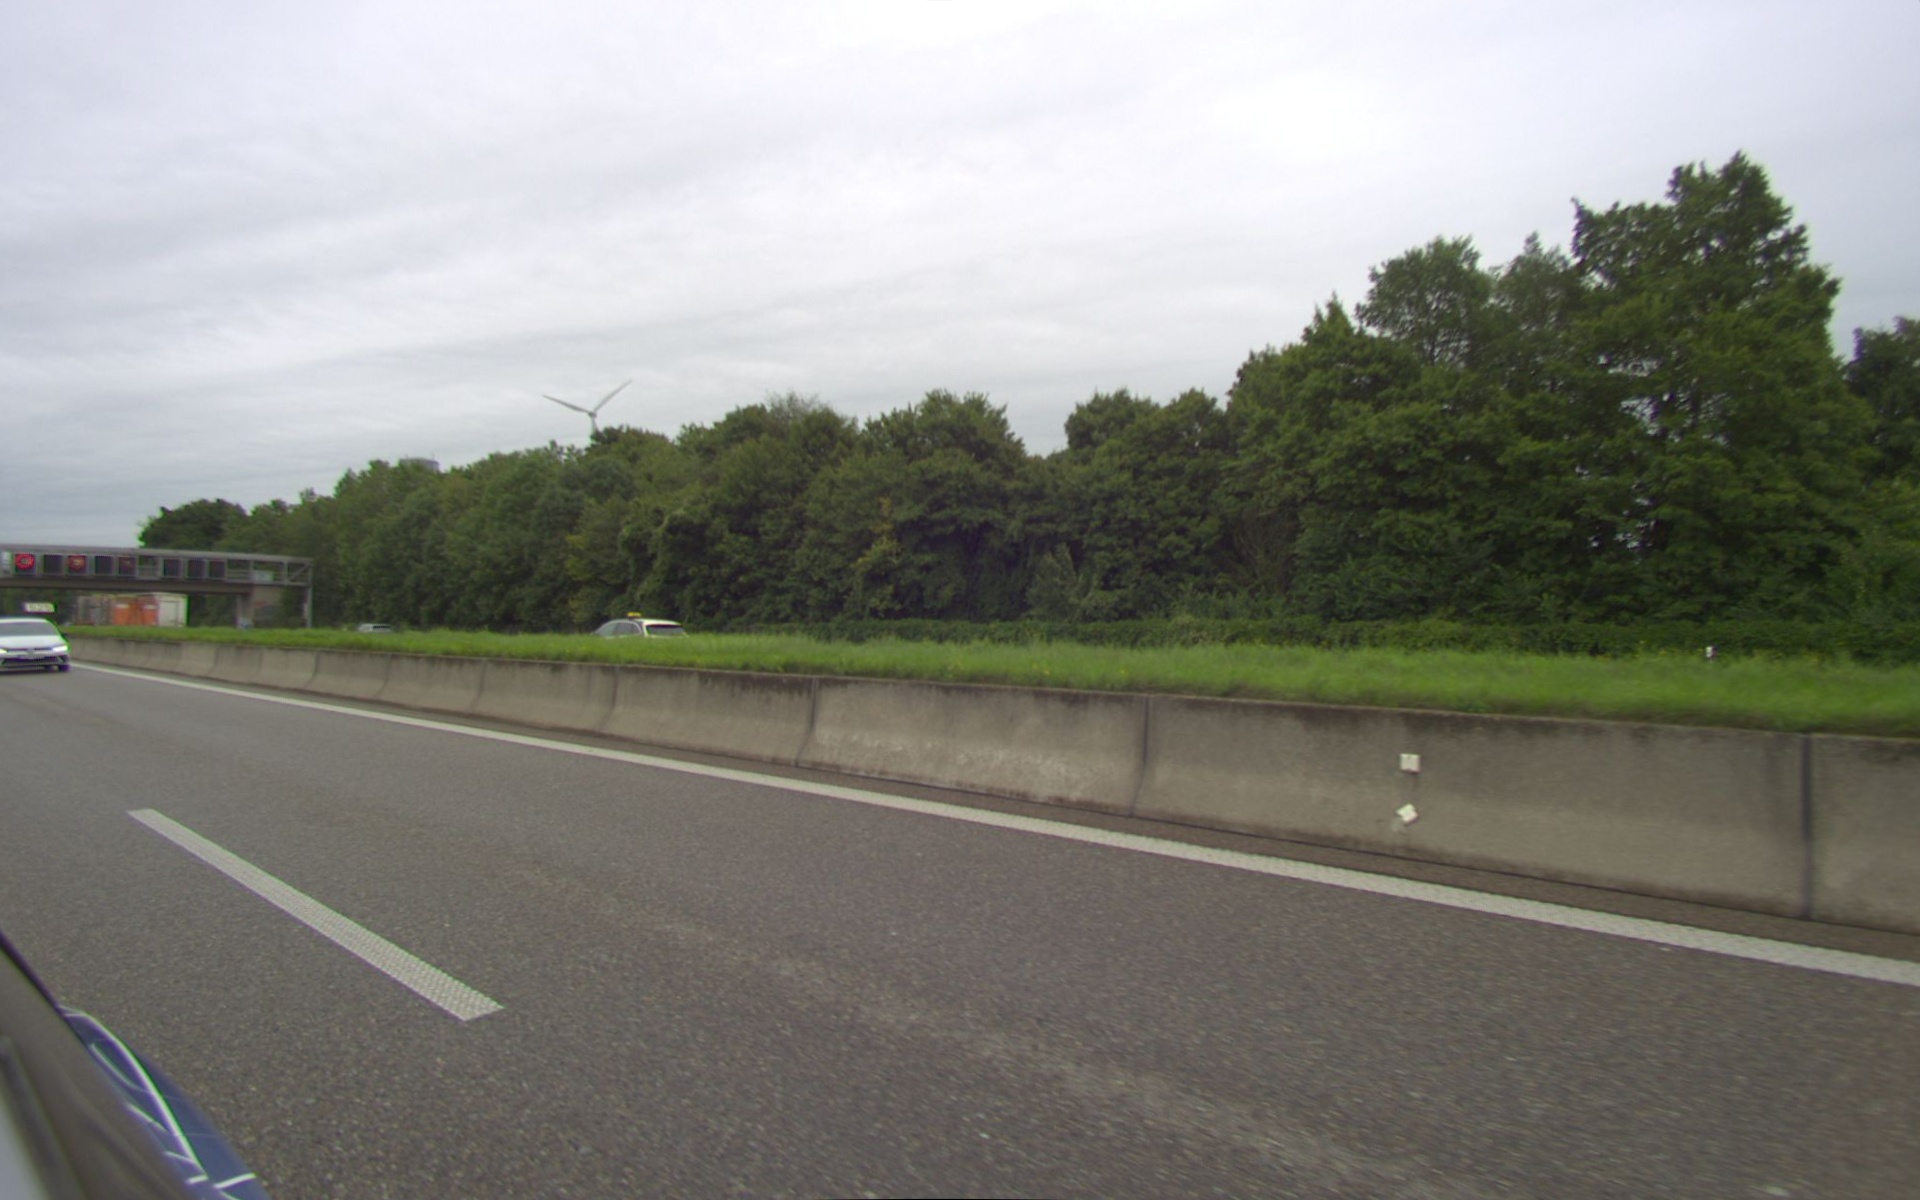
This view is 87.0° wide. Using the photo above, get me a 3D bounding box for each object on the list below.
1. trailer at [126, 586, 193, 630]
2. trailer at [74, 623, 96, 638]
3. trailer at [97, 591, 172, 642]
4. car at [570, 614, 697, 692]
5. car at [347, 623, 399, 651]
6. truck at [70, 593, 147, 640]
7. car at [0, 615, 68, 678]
[{"bbox_3d":[-69.260,0.706,87.449,11.869,3.566,2.657,-1,0,43],"label":"trailer"},{"bbox_3d":[-129.509,4.463,149.755,5.177,2.029,1.972,-1,0,43],"label":"trailer"},{"bbox_3d":[-60.779,1.179,74.451,8.316,3.485,2.901,-1,0,41],"label":"trailer"},{"bbox_3d":[-9.265,1.421,28.564,3.998,2.029,1.603,-1,-1,41],"label":"car"},{"bbox_3d":[-41.248,2.563,71.080,4.304,1.802,1.972,-1,0,43],"label":"car"},{"bbox_3d":[-68.195,1.274,80.913,11.178,3.492,2.921,-1,0,41],"label":"truck"},{"bbox_3d":[-26.108,1.237,27.860,4.661,1.630,1.735,-1,-2,41],"label":"car"}]
